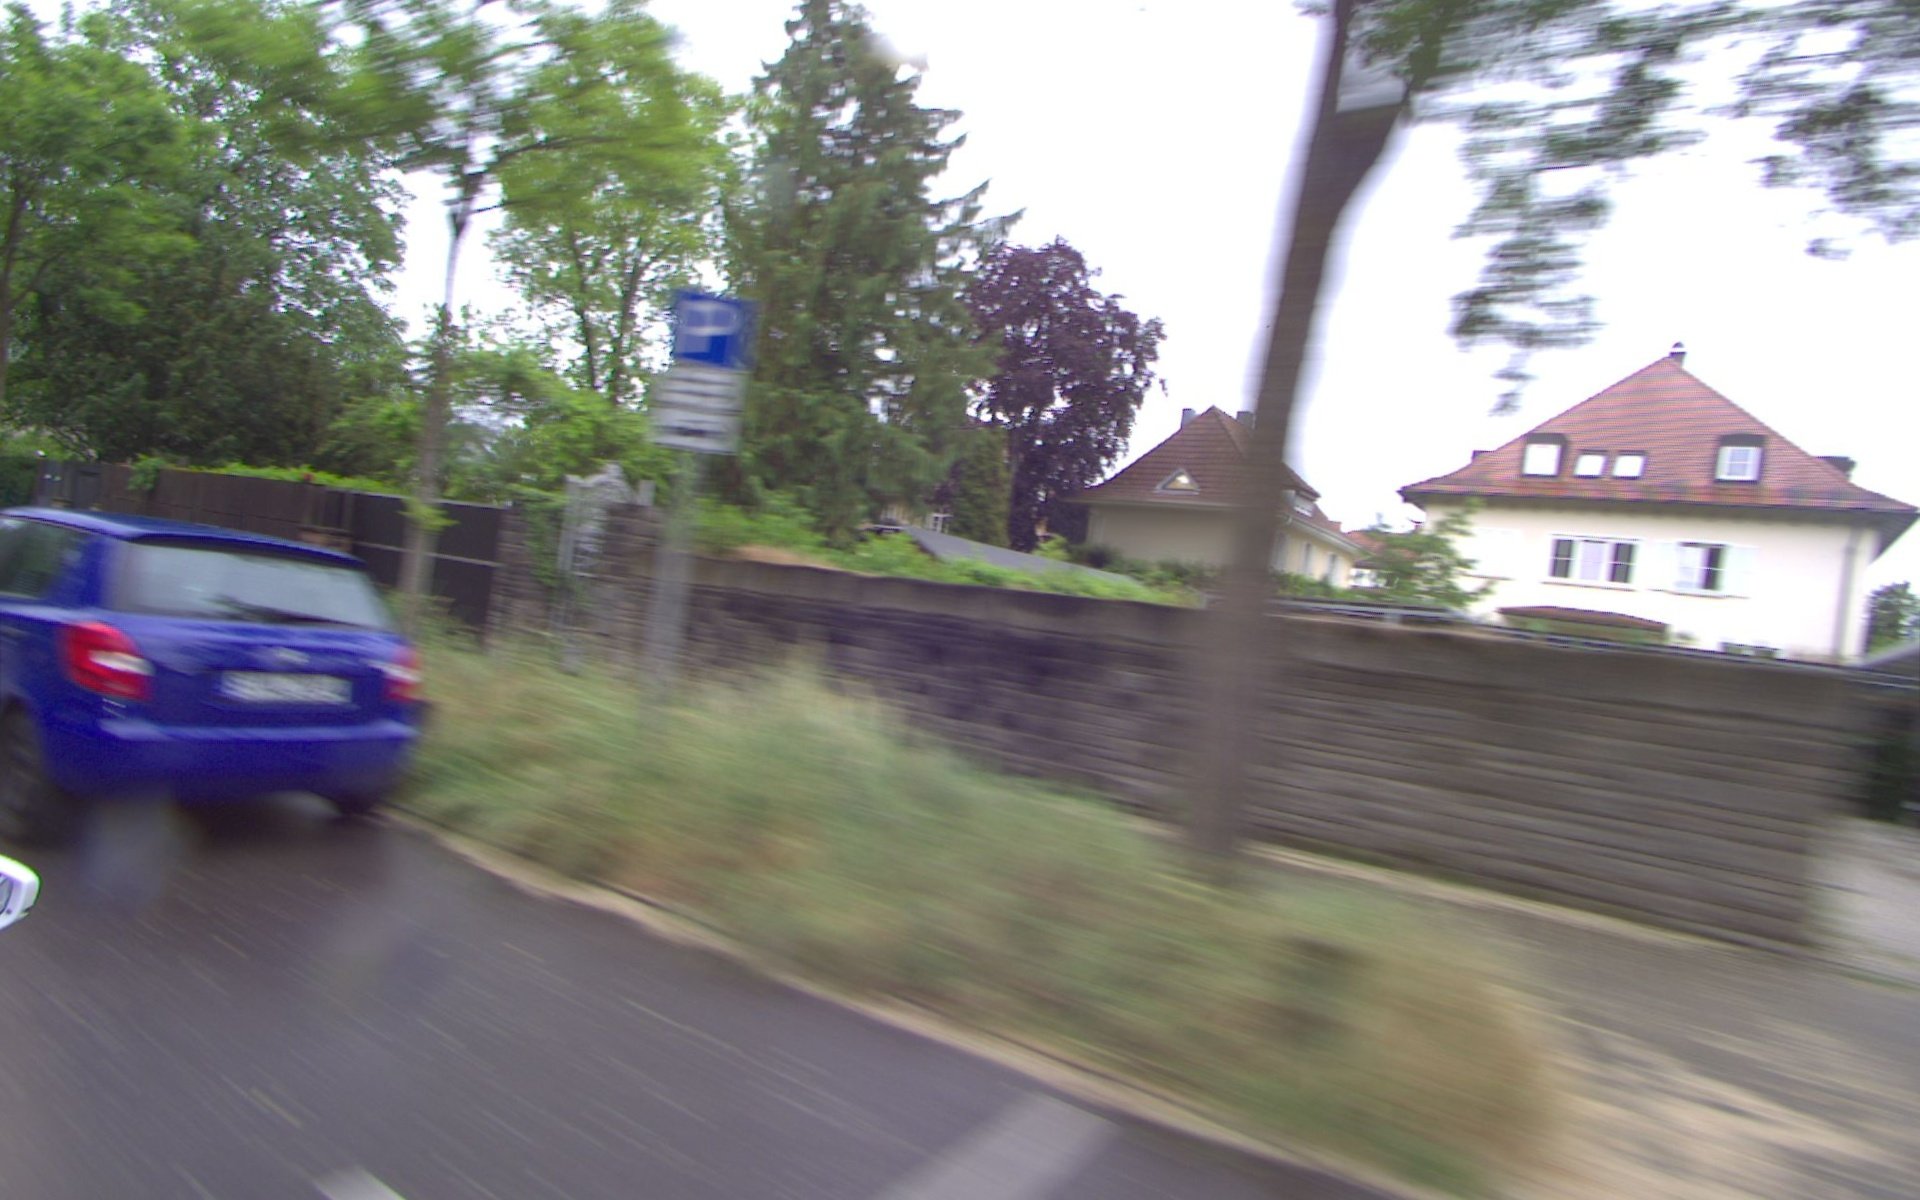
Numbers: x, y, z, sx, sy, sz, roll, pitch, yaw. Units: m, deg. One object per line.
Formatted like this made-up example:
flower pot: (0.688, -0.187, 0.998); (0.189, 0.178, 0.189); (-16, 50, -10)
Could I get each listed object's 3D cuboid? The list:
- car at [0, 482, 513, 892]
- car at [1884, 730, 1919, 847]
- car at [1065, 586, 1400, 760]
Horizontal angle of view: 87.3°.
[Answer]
car: (-4.591, 0.237, 5.668); (3.983, 1.523, 1.724); (8, -2, 32)
car: (16.112, 3.074, 14.544); (3.710, 1.708, 1.733); (8, -2, 37)
car: (3.892, 0.982, 14.588); (4.185, 1.832, 1.832); (7, -1, 33)
